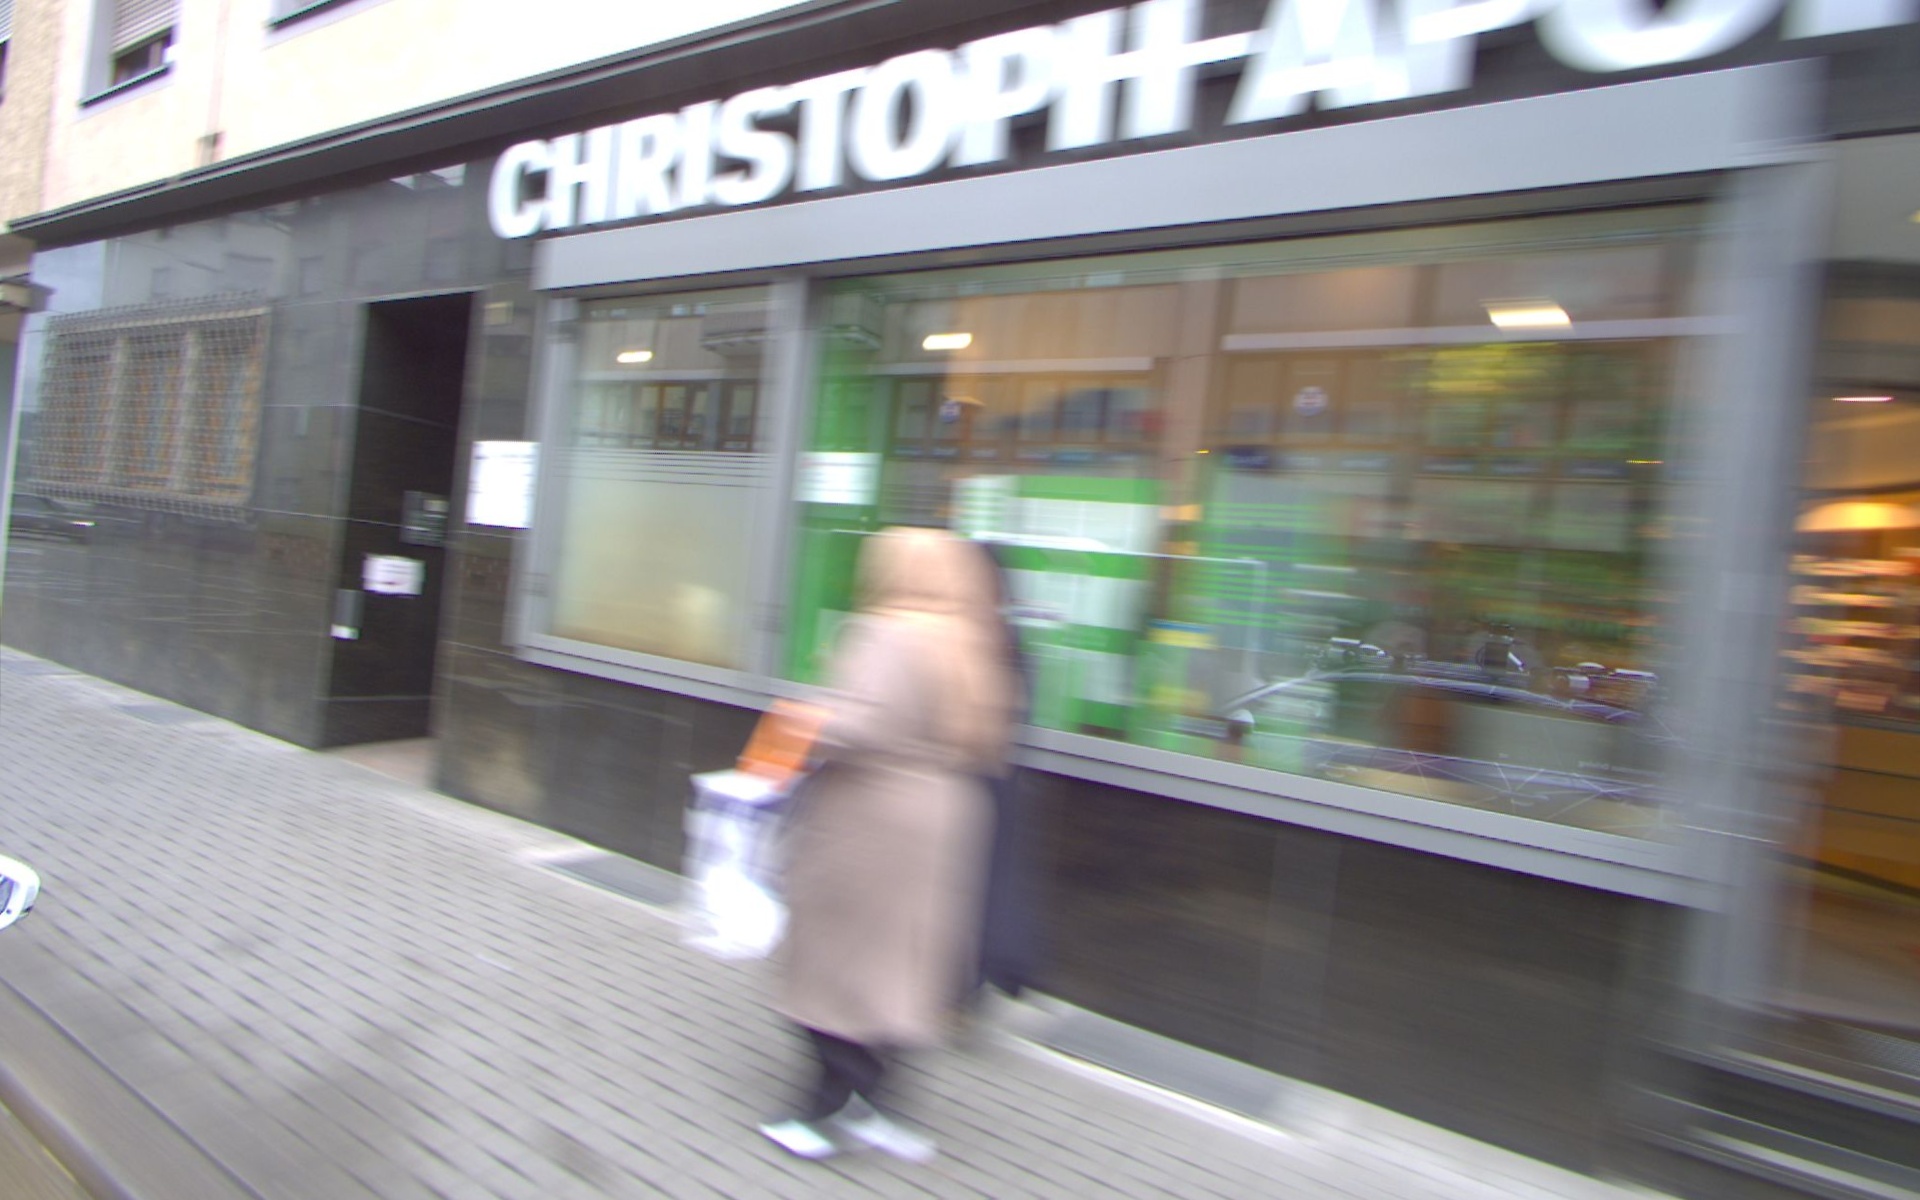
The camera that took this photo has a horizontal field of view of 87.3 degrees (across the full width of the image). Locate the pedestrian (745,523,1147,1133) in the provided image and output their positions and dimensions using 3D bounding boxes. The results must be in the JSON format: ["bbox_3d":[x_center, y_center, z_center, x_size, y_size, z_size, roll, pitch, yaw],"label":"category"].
[{"bbox_3d":[-0.024,0.615,3.211,0.861,1.579,0.769,6,1,30],"label":"pedestrian"}]

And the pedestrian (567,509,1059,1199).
[{"bbox_3d":[-0.340,0.630,2.544,0.769,1.579,0.779,6,1,30],"label":"pedestrian"}]
